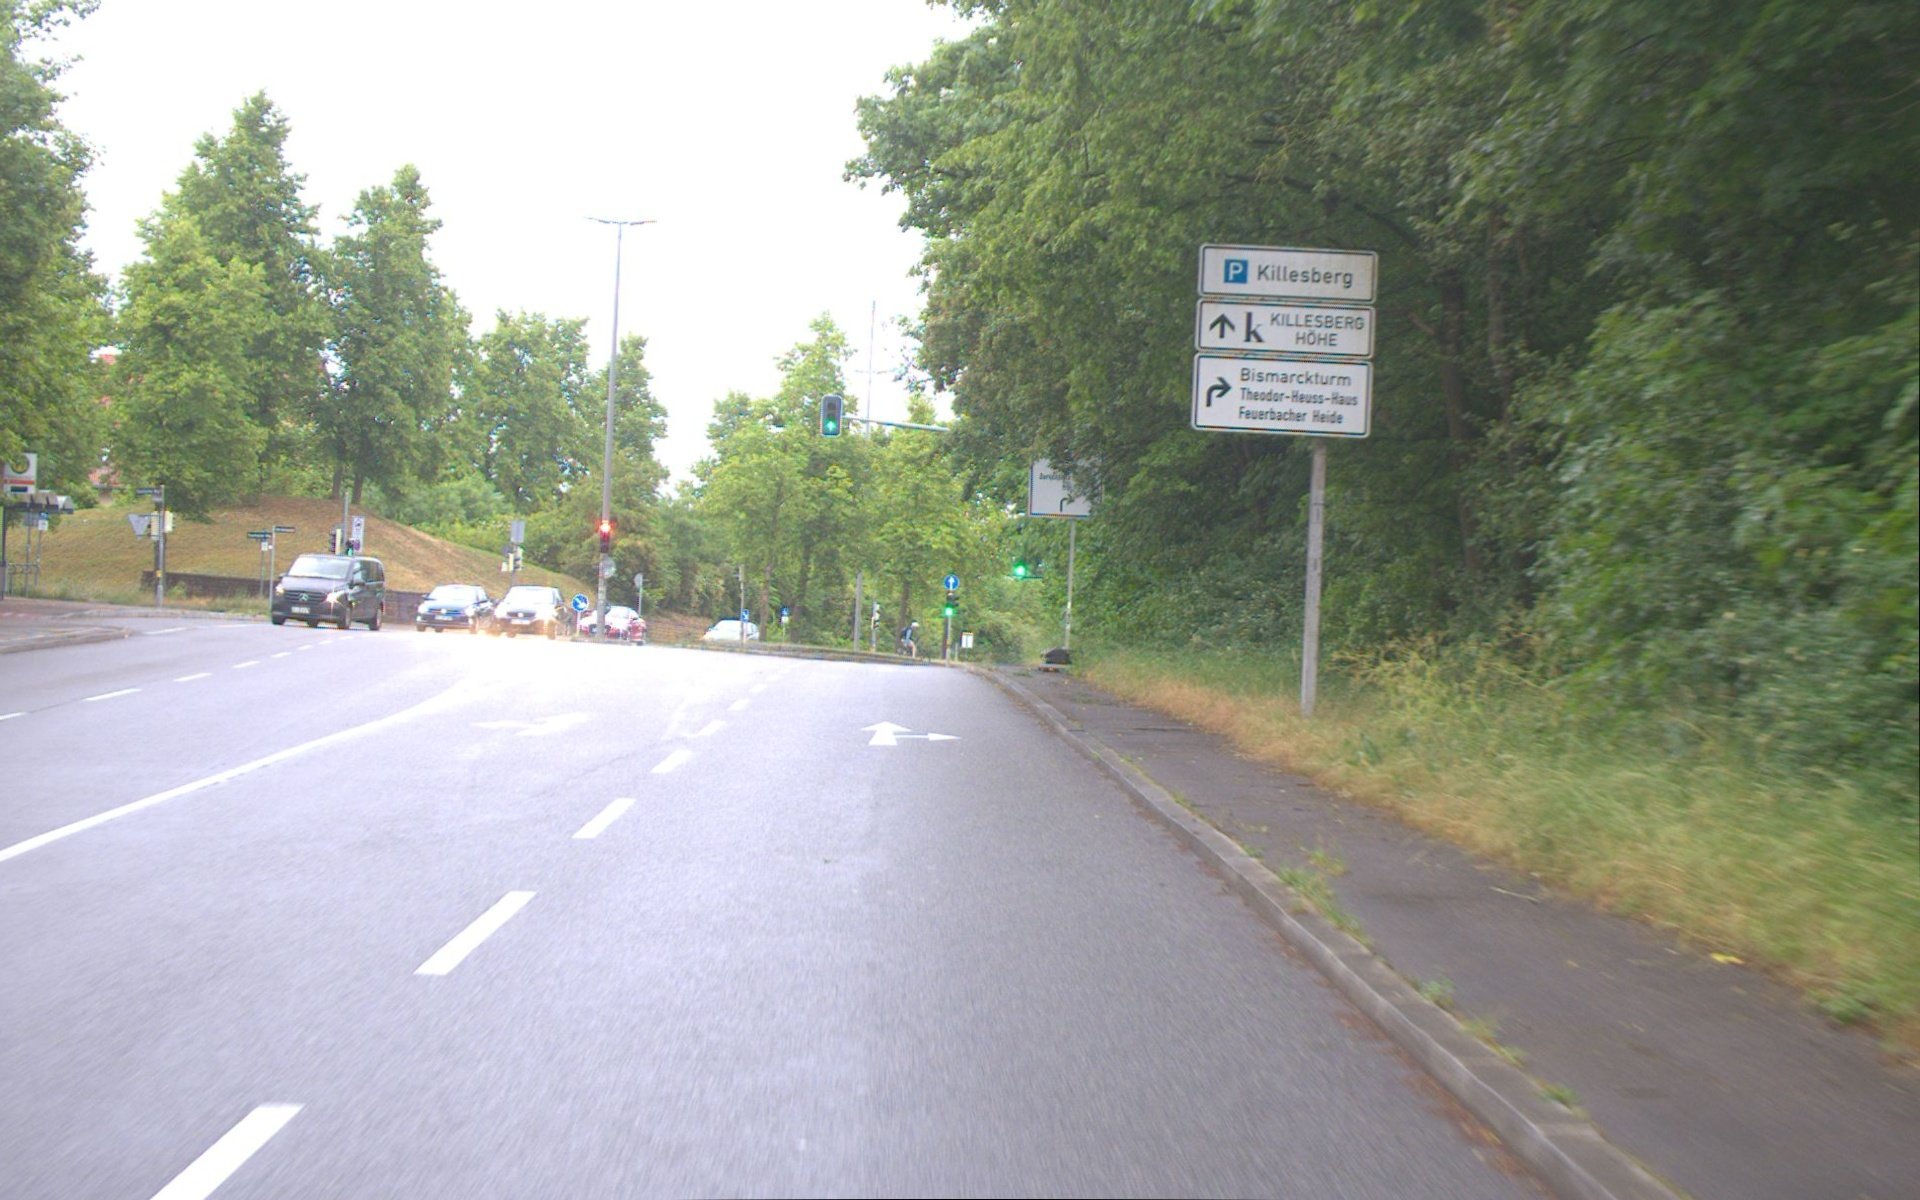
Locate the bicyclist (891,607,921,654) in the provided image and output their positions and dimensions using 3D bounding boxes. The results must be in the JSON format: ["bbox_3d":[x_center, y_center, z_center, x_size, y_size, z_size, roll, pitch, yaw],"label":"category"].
[{"bbox_3d":[-2.103,1.203,134.337,0.799,1.746,0.725,7,-6,-43],"label":"bicyclist"}]

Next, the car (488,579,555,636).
[{"bbox_3d":[-12.010,0.198,94.253,1.700,1.422,4.079,3,0,-7],"label":"car"}]

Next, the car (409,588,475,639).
[{"bbox_3d":[-15.018,0.375,99.810,1.631,1.389,4.001,2,0,-6],"label":"car"}]

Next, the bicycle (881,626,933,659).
[{"bbox_3d":[-2.055,1.662,134.380,2.134,1.139,0.554,6,-2,-43],"label":"bicycle"}]

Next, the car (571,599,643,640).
[{"bbox_3d":[-12.726,0.704,124.139,1.875,1.369,4.384,3,0,3],"label":"car"}]

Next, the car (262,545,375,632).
[{"bbox_3d":[-16.326,-0.266,87.734,2.102,1.939,5.160,6,-1,-4],"label":"car"}]
